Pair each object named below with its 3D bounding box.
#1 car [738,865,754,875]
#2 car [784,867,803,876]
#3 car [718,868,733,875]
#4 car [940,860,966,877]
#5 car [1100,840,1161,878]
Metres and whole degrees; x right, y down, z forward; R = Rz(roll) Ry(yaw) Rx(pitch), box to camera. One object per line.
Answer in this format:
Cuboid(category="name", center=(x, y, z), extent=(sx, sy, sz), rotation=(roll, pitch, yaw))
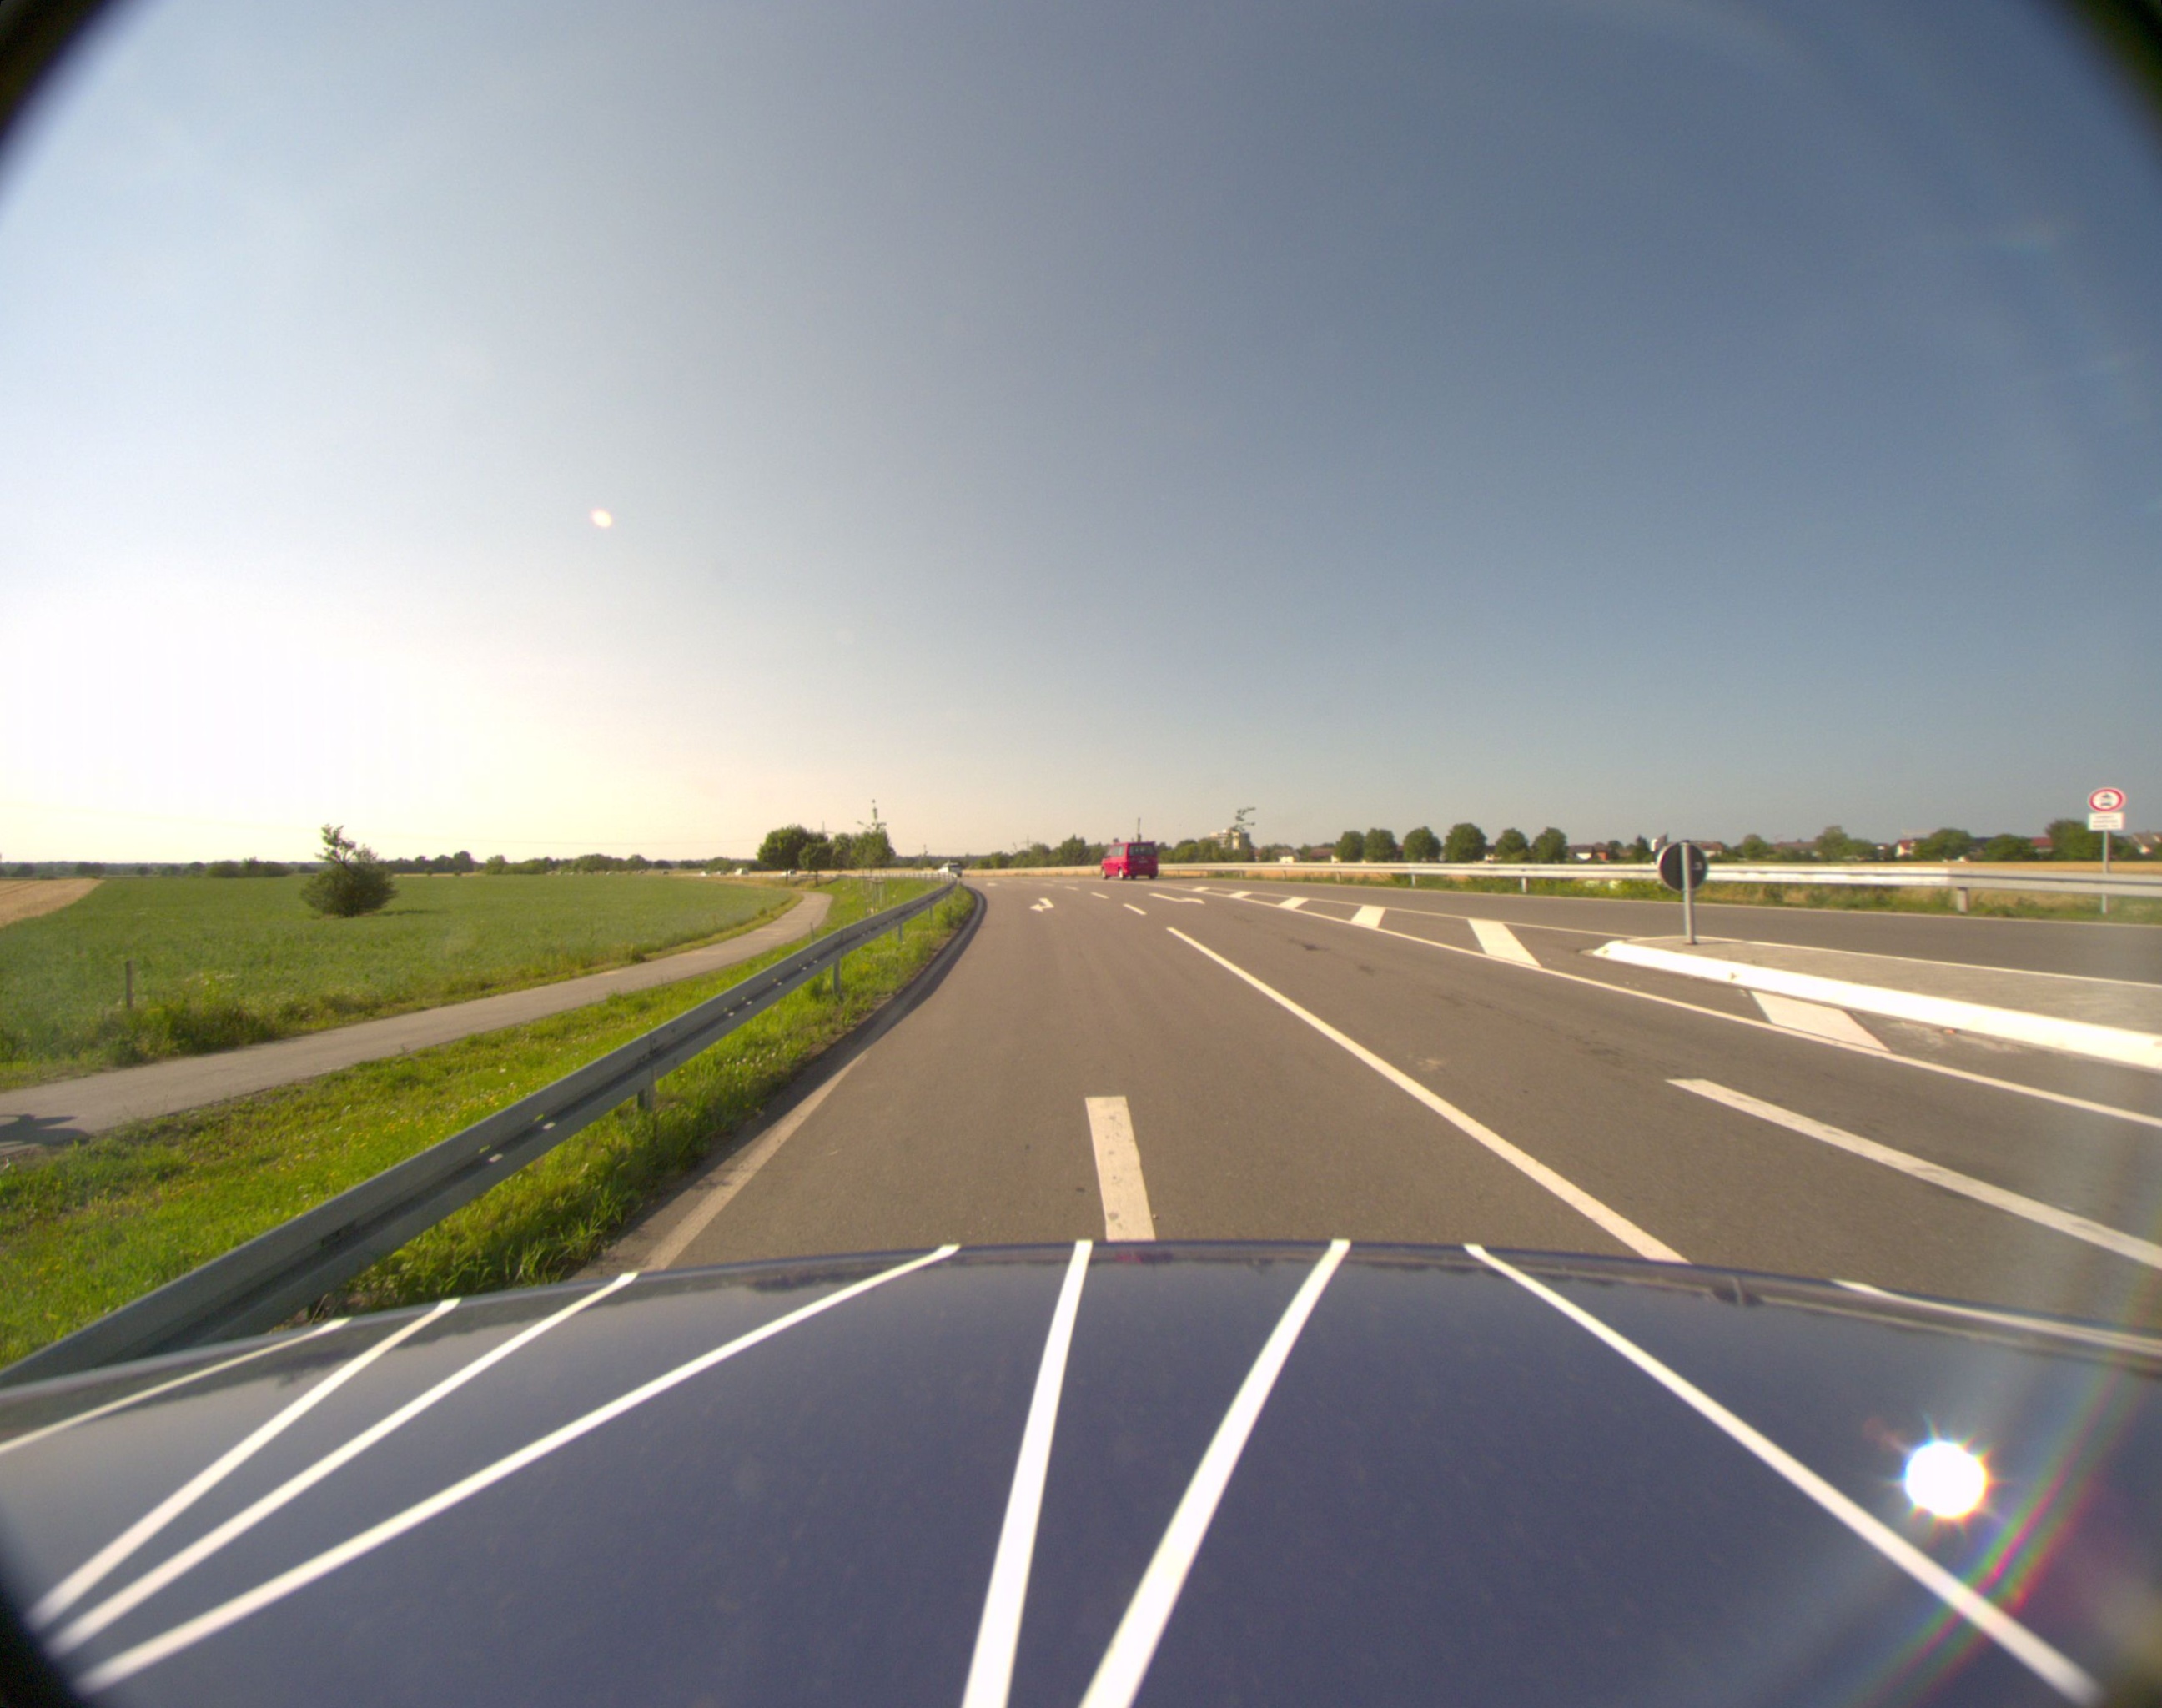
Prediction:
Cuboid(category="car", center=(-76.085, 3.638, 172.516), extent=(2.126, 2.001, 5.141), rotation=(-2, -2, -40))
Cuboid(category="car", center=(-56.601, 3.475, 149.673), extent=(2.125, 1.484, 5.142), rotation=(-2, -2, -35))
Cuboid(category="car", center=(-86.097, 4.232, 184.153), extent=(4.694, 1.439, 1.804), rotation=(-5, -3, 45))
Cuboid(category="car", center=(-14.850, 1.668, 87.954), extent=(1.699, 1.664, 4.851), rotation=(-2, 4, -24))
Cuboid(category="car", center=(2.581, 0.293, 41.114), extent=(1.840, 1.929, 4.921), rotation=(-1, -1, -14))
